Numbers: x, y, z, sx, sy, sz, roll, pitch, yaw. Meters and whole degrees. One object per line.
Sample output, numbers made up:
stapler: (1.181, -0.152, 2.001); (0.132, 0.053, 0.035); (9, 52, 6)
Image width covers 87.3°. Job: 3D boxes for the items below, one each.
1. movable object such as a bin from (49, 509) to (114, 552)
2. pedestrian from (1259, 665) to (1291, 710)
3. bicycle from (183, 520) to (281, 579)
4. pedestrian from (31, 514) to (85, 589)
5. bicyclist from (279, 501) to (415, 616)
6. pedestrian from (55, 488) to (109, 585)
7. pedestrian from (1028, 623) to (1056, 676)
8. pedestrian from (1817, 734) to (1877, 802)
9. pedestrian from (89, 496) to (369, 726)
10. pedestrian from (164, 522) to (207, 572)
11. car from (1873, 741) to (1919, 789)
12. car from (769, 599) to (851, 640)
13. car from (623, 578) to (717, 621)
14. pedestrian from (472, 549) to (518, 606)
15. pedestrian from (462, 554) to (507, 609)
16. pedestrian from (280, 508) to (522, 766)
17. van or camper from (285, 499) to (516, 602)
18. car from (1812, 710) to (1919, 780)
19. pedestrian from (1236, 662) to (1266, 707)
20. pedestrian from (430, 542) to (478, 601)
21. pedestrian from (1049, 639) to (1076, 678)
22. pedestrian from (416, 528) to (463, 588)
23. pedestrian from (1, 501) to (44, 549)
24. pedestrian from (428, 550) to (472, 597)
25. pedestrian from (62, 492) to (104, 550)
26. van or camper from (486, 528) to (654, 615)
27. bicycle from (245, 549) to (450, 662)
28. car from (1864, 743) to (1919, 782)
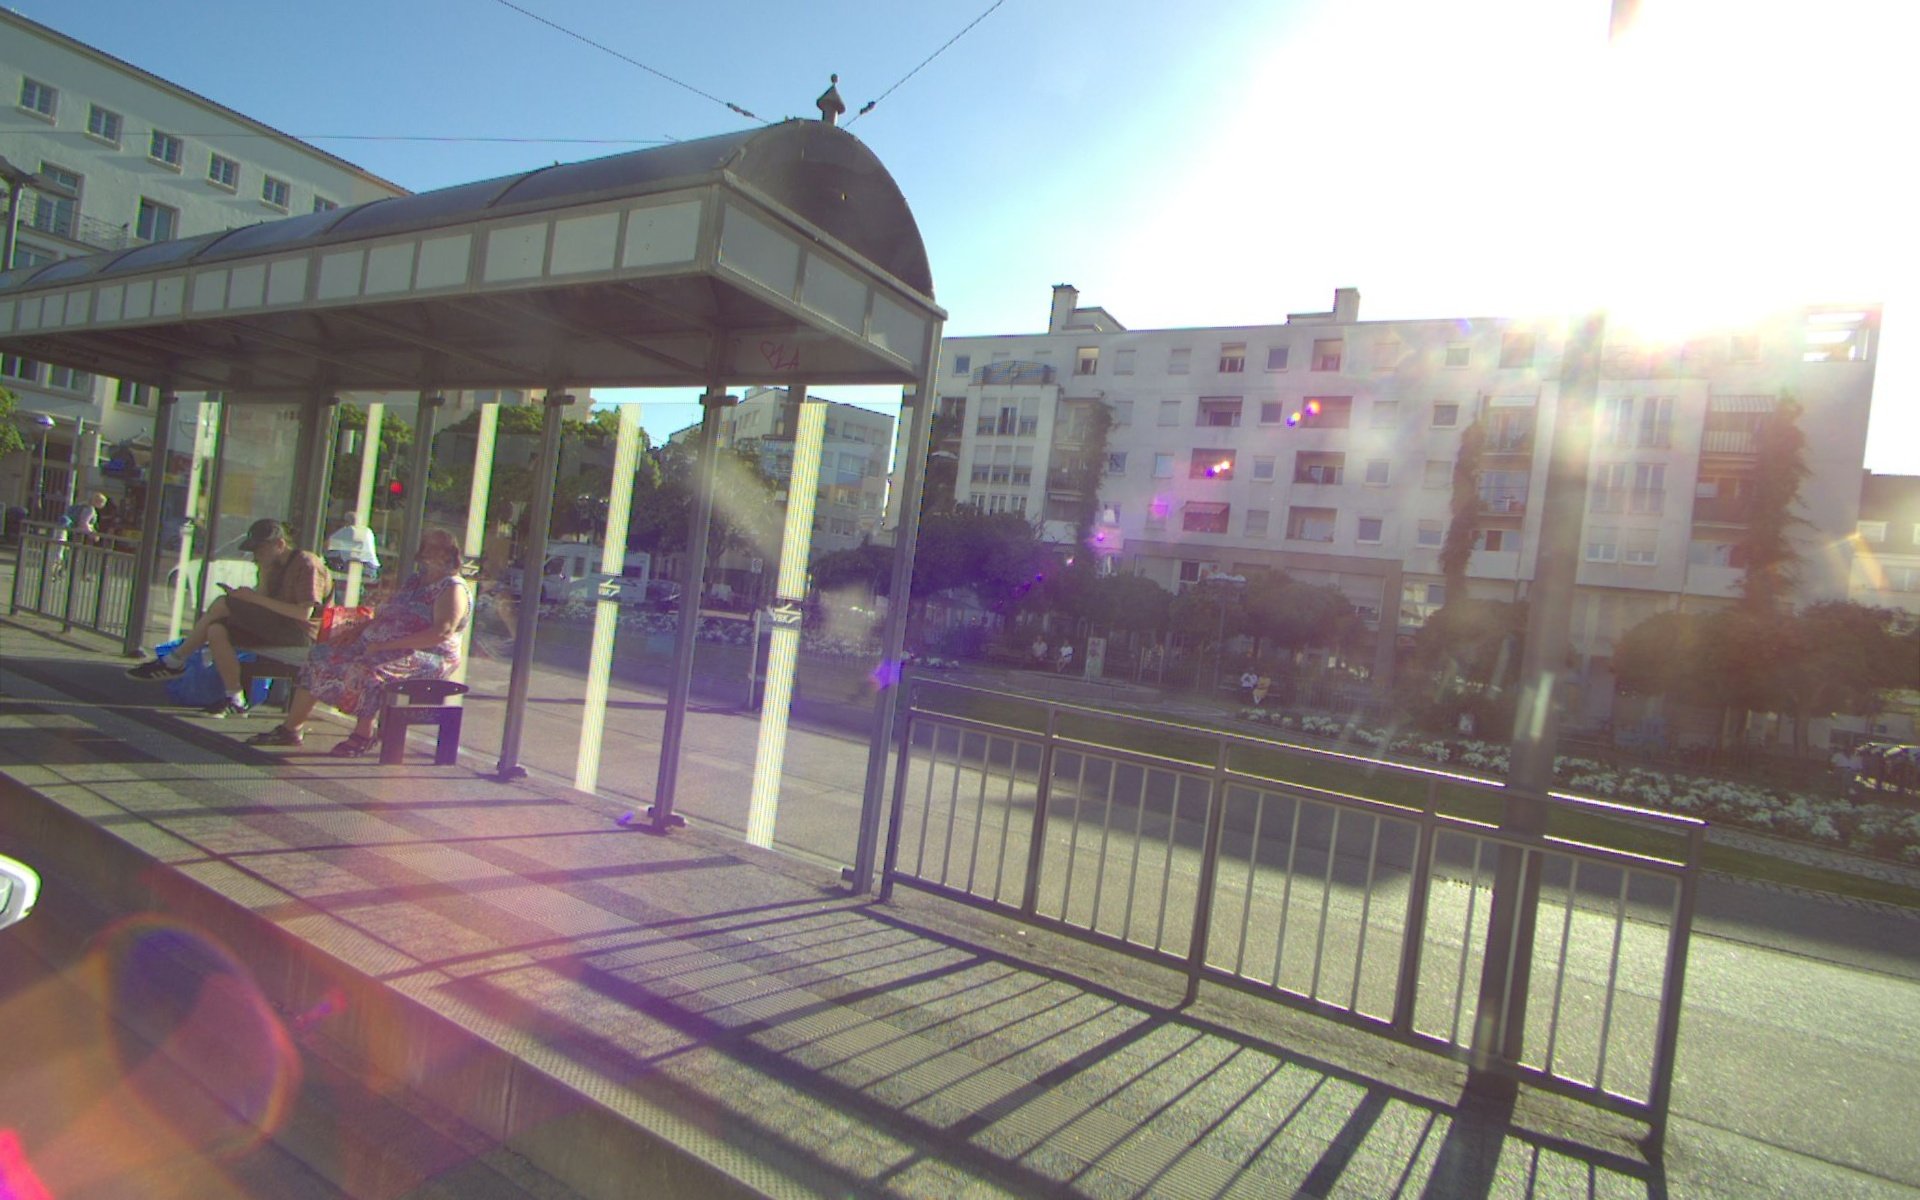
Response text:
movable object such as a bin: (-28.552, -2.249, 32.705); (1.197, 1.167, 1.200); (7, -1, 32)
pedestrian: (9.832, 2.714, 31.438); (0.718, 1.287, 0.745); (7, 0, 11)
bicycle: (-24.125, -1.651, 33.410); (0.714, 1.548, 2.391); (7, -3, 31)
pedestrian: (-16.162, -0.865, 18.024); (0.520, 1.240, 0.557); (6, -2, 42)
bicyclist: (-7.714, -0.502, 12.699); (0.916, 1.239, 0.955); (8, -2, 14)
pedestrian: (-16.871, -1.224, 19.334); (0.519, 1.765, 0.557); (6, -1, 42)
pedestrian: (2.894, 1.731, 35.284); (0.661, 1.745, 1.028); (7, 0, 11)
pedestrian: (21.224, 4.002, 24.079); (0.923, 1.428, 1.521); (7, -1, 42)
pedestrian: (-4.554, 0.086, 6.306); (0.908, 1.238, 1.001); (6, -4, 32)
pedestrian: (-24.959, -1.710, 32.428); (0.742, 1.427, 0.731); (11, 1, 32)
car: (36.267, 6.302, 36.832); (3.941, 1.535, 1.993); (7, -1, 38)
car: (-7.162, 0.967, 48.305); (1.964, 1.503, 4.000); (7, -1, 23)
car: (-14.453, -0.009, 50.238); (1.974, 1.529, 3.982); (6, -3, 43)
pedestrian: (-14.176, -0.690, 30.654); (0.651, 1.604, 0.902); (7, 0, 35)
pedestrian: (-15.059, -0.595, 31.871); (0.651, 1.604, 0.902); (7, 0, 35)
pedestrian: (-3.212, 0.236, 5.828); (0.613, 1.348, 0.861); (6, -4, 32)
van or camper: (-20.867, -1.748, 37.984); (2.331, 2.780, 7.132); (9, 0, 32)
car: (43.169, 6.792, 45.564); (6.286, 2.585, 2.812); (7, -1, 28)
pedestrian: (9.133, 2.649, 31.592); (0.718, 1.287, 0.745); (7, 0, 11)
pedestrian: (-14.974, -0.834, 29.785); (0.651, 1.604, 0.902); (7, 0, 35)
pedestrian: (3.592, 2.037, 35.159); (0.718, 1.287, 1.042); (7, 0, 11)
pedestrian: (-15.963, -1.276, 30.887); (0.684, 1.705, 0.902); (7, 0, 35)
pedestrian: (-28.525, -2.269, 30.619); (0.736, 1.332, 0.622); (7, 0, -35)
pedestrian: (-15.401, -0.798, 30.373); (0.595, 1.295, 0.901); (7, 0, 38)
pedestrian: (-30.017, -2.703, 34.424); (0.667, 1.861, 0.785); (7, 0, 35)
van or camper: (-16.965, -1.173, 44.142); (2.340, 2.873, 6.411); (7, -1, 35)
bicycle: (-7.709, 0.072, 12.670); (2.279, 1.073, 0.722); (8, -2, 15)
car: (39.608, 6.816, 40.913); (3.941, 1.303, 1.993); (7, -1, 38)
